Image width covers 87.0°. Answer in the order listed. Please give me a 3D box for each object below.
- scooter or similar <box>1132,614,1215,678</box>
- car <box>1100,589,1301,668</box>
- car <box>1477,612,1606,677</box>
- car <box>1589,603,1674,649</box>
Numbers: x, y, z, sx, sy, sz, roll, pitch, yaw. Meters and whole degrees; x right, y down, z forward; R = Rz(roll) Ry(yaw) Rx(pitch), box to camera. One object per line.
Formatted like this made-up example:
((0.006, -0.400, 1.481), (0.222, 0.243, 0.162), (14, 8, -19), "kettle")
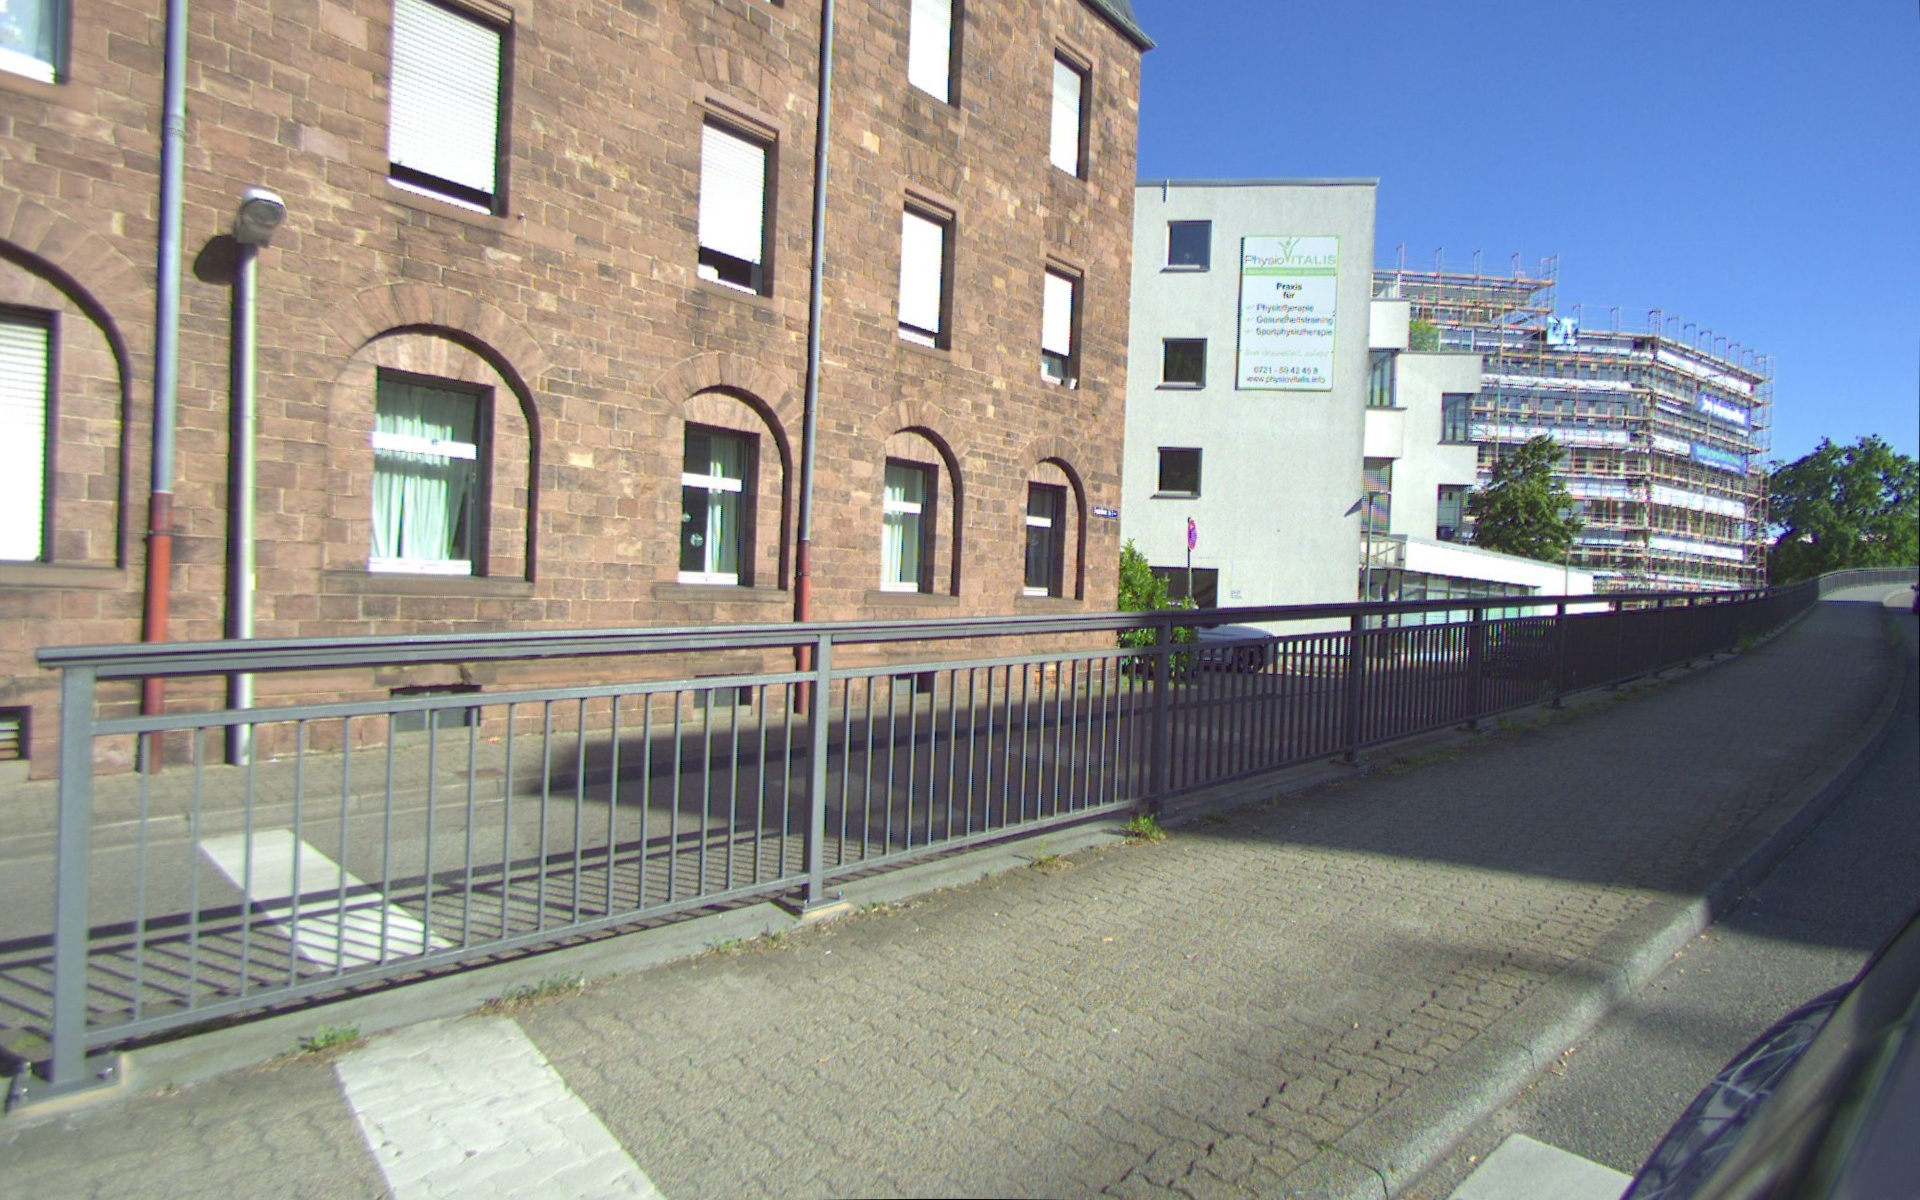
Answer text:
((4.278, 0.896, 20.323), (1.455, 1.235, 0.774), (-1, -1, 39), "scooter or similar")
((5.801, 0.659, 24.903), (4.567, 1.789, 1.826), (0, 1, 6), "car")
((16.067, 1.152, 27.850), (4.604, 1.448, 1.846), (-1, 2, -43), "car")
((25.296, 0.964, 38.076), (3.934, 1.554, 1.846), (1, 2, -45), "car")
